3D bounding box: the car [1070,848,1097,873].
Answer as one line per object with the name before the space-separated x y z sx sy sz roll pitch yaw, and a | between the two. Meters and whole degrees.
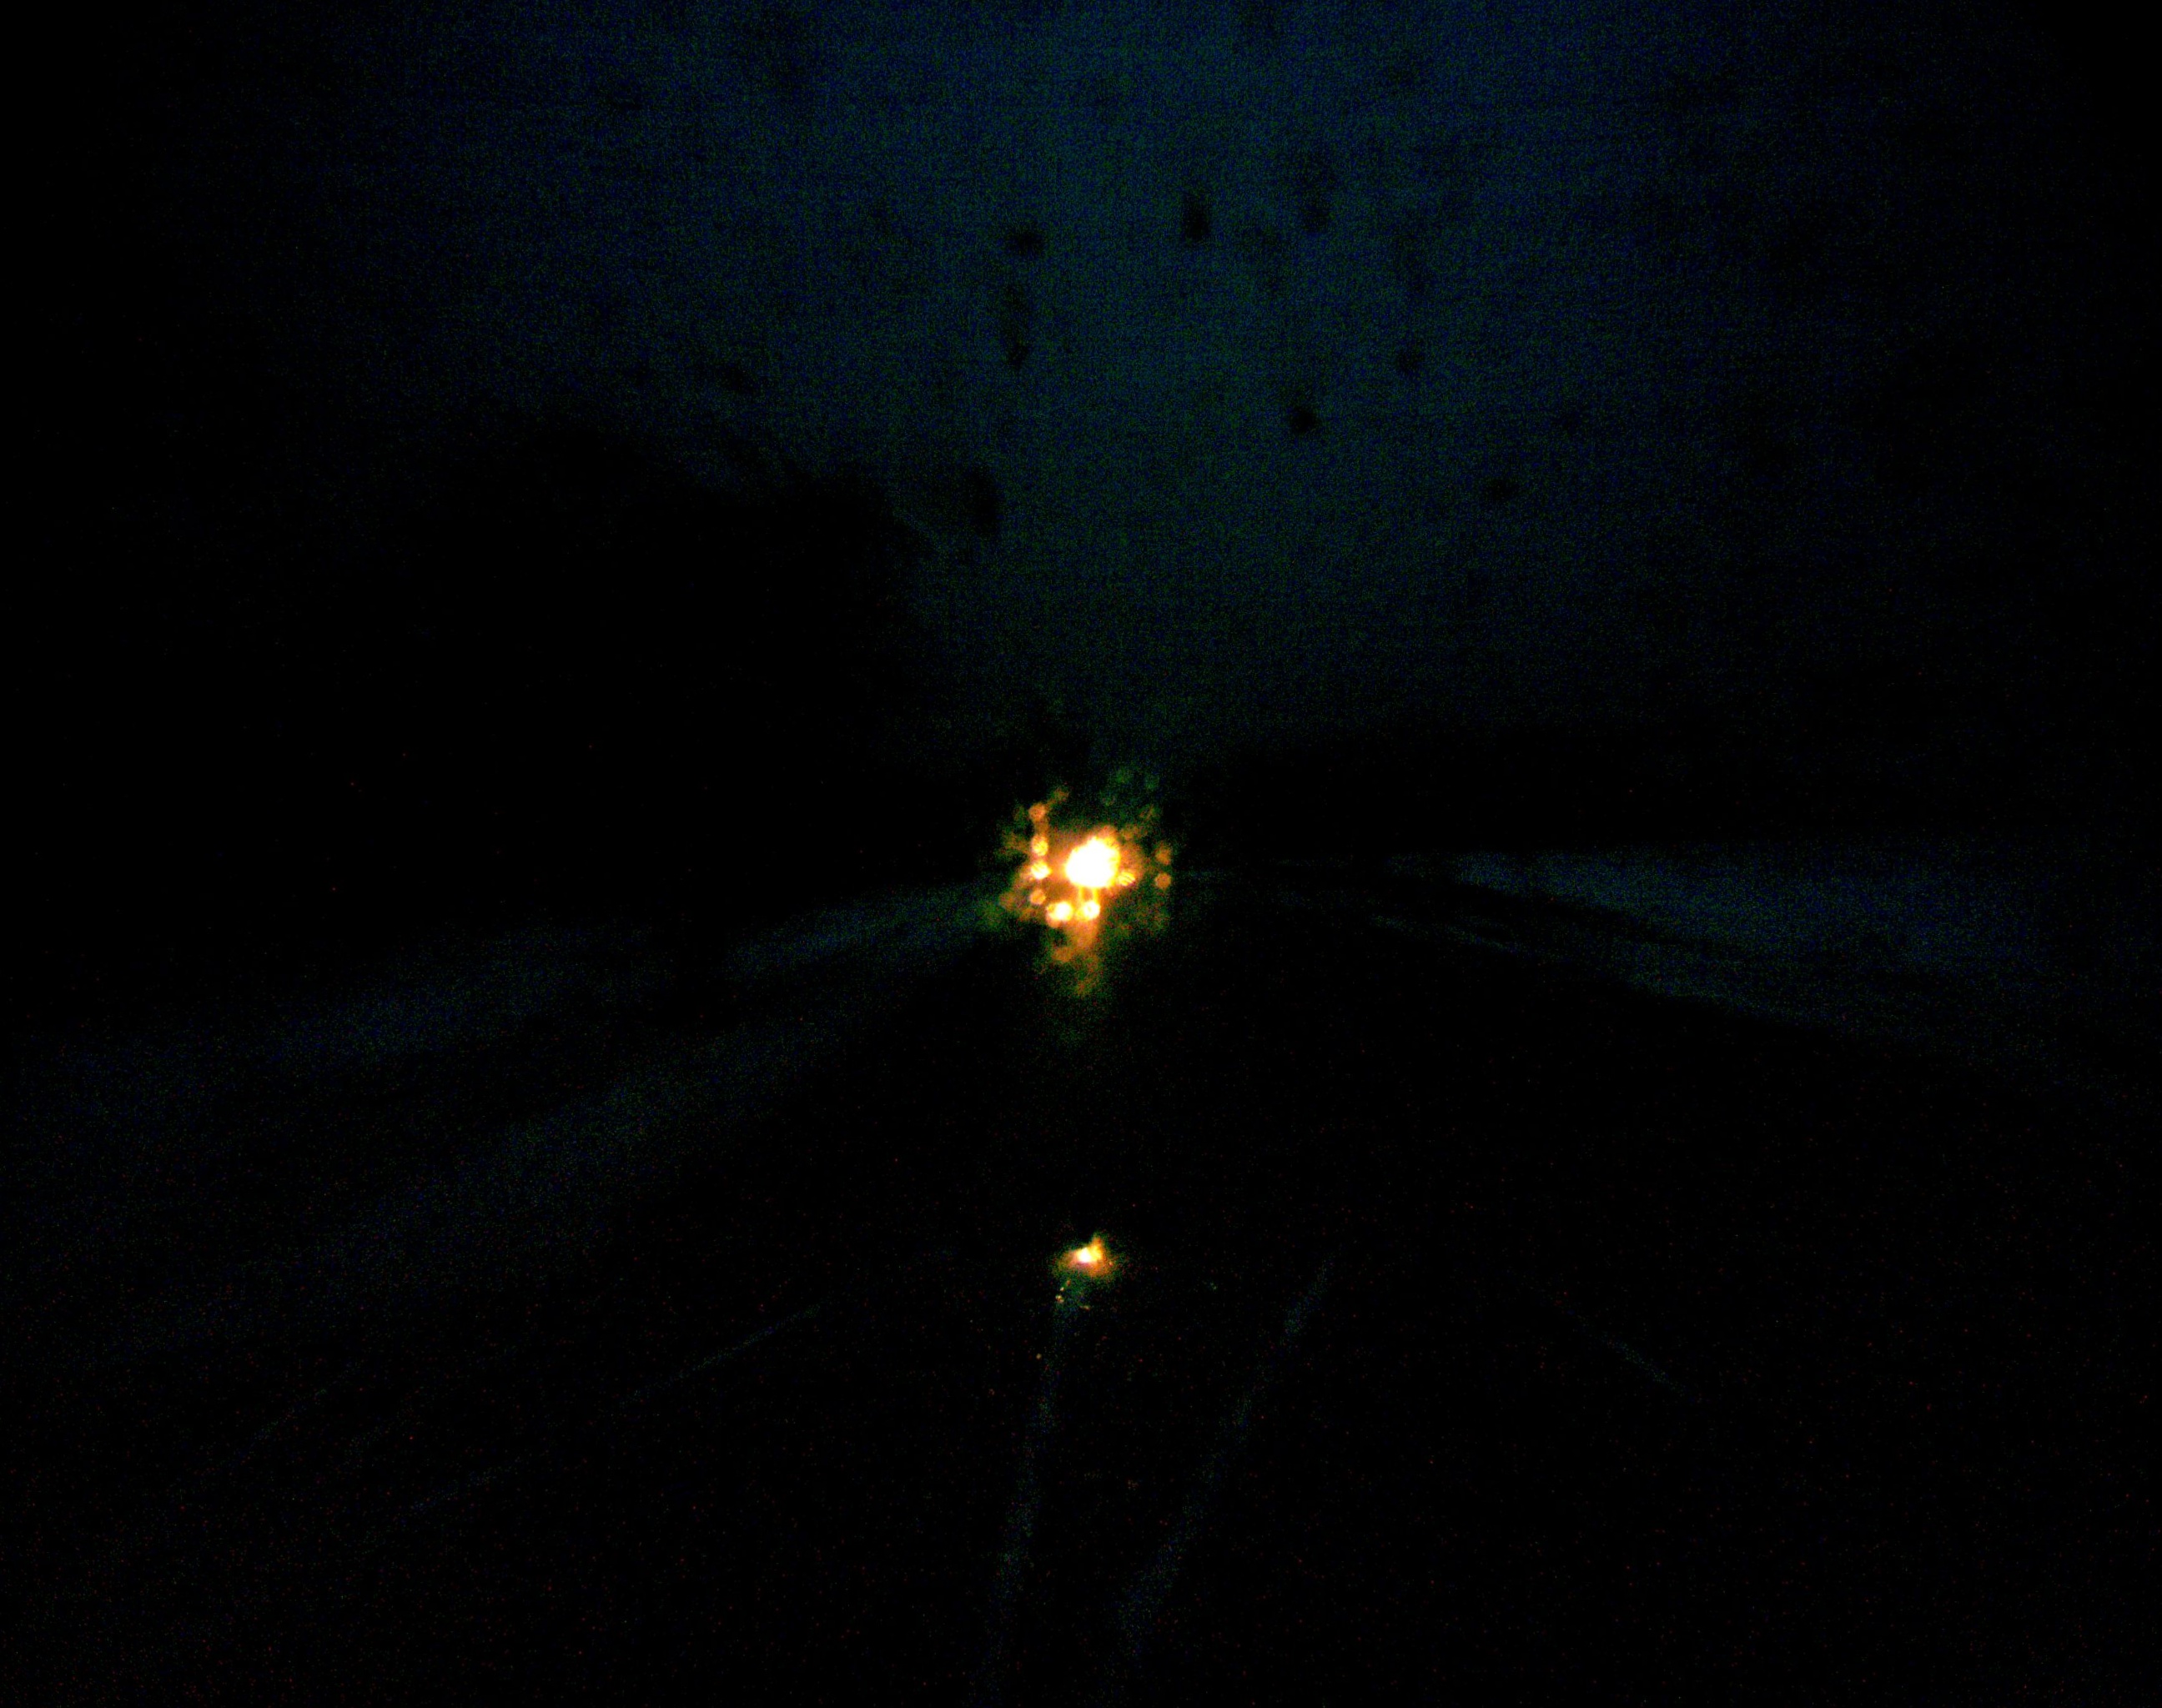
car | 0.246 0.562 67.232 1.998 2.002 4.000 -5 1 4
